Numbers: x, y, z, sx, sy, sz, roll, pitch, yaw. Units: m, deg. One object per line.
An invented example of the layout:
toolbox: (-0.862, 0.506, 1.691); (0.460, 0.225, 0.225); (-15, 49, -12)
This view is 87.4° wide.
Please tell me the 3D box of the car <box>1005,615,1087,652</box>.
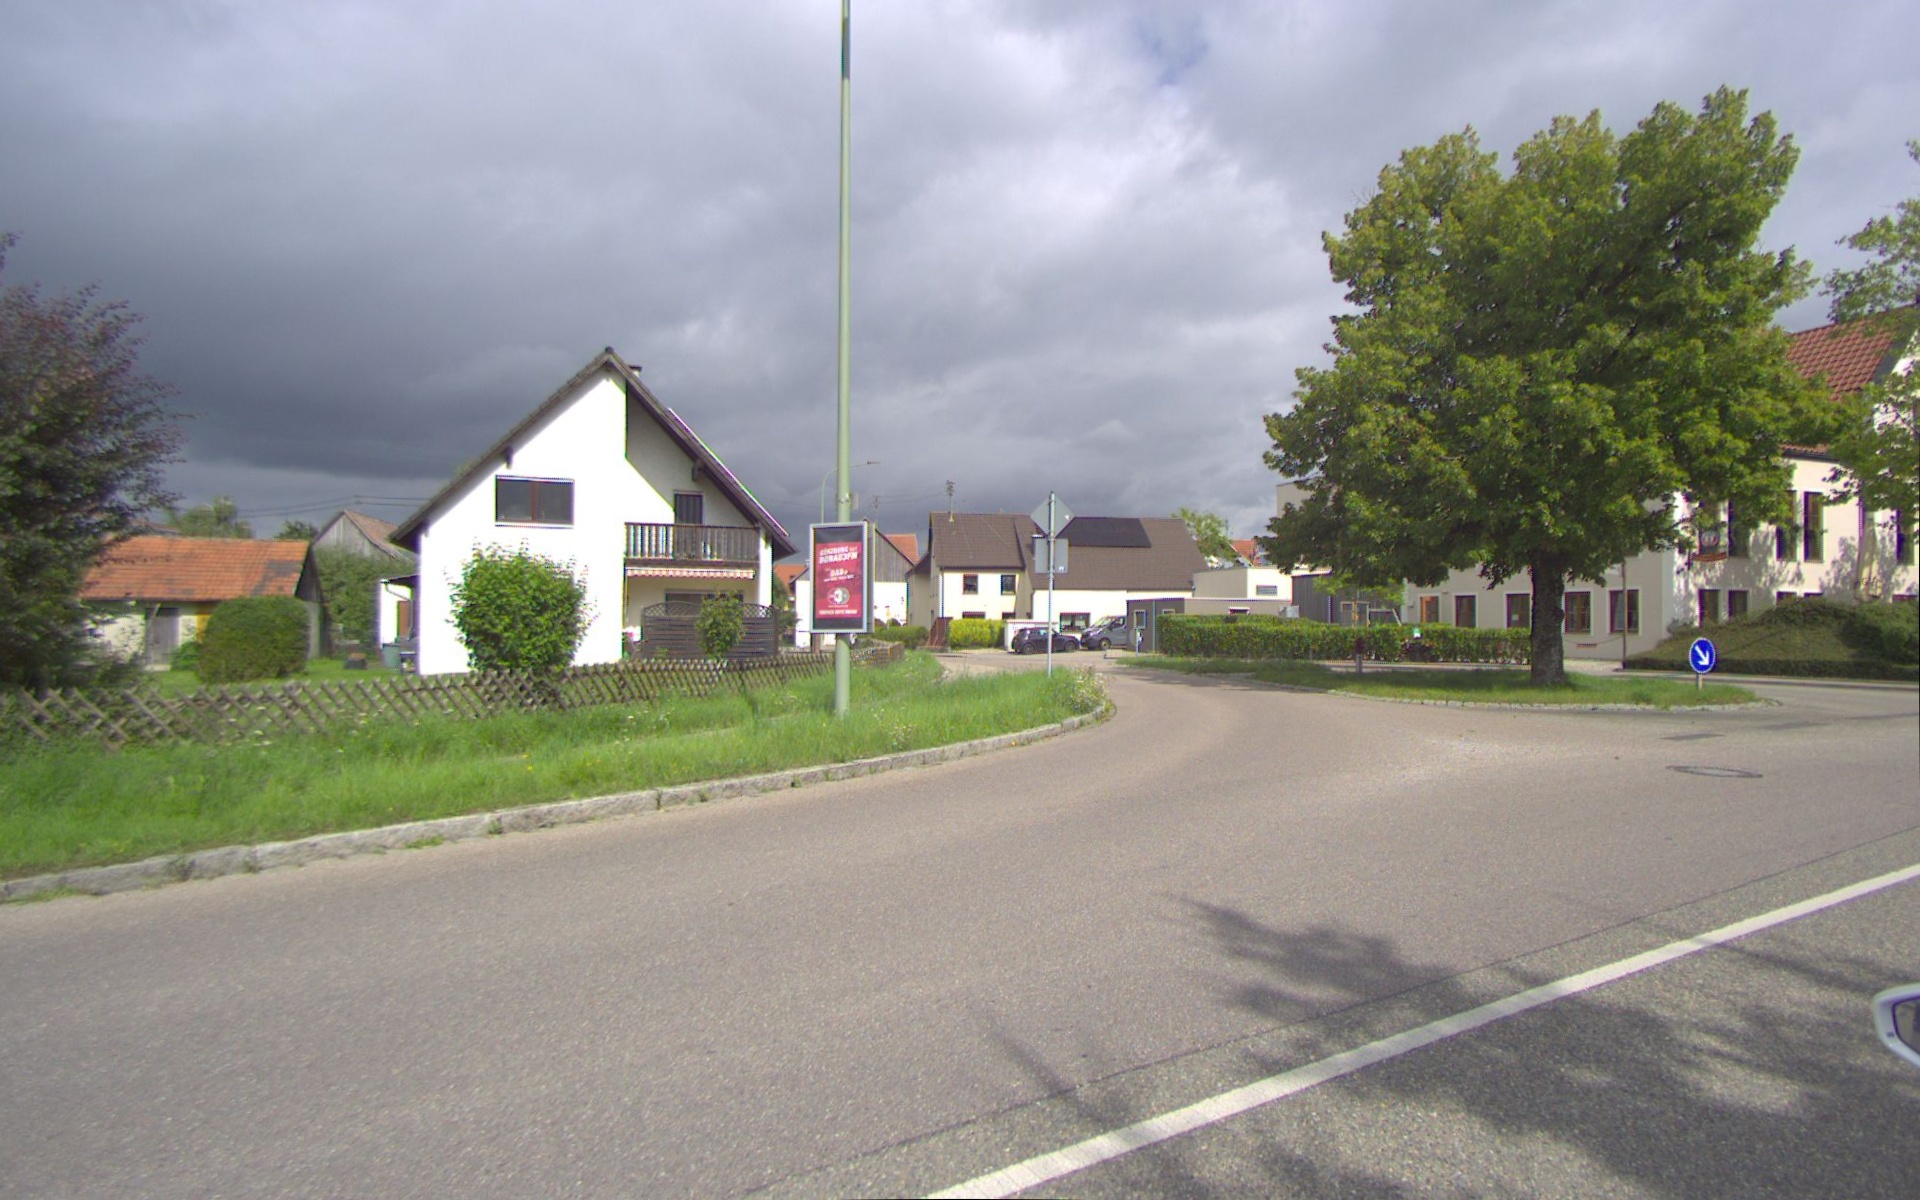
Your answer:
car: (4.827, 1.866, 56.432); (4.136, 2.040, 1.991); (1, -1, -21)

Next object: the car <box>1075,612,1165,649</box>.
car: (9.185, 1.747, 57.706); (4.826, 2.040, 1.991); (1, -1, -21)
